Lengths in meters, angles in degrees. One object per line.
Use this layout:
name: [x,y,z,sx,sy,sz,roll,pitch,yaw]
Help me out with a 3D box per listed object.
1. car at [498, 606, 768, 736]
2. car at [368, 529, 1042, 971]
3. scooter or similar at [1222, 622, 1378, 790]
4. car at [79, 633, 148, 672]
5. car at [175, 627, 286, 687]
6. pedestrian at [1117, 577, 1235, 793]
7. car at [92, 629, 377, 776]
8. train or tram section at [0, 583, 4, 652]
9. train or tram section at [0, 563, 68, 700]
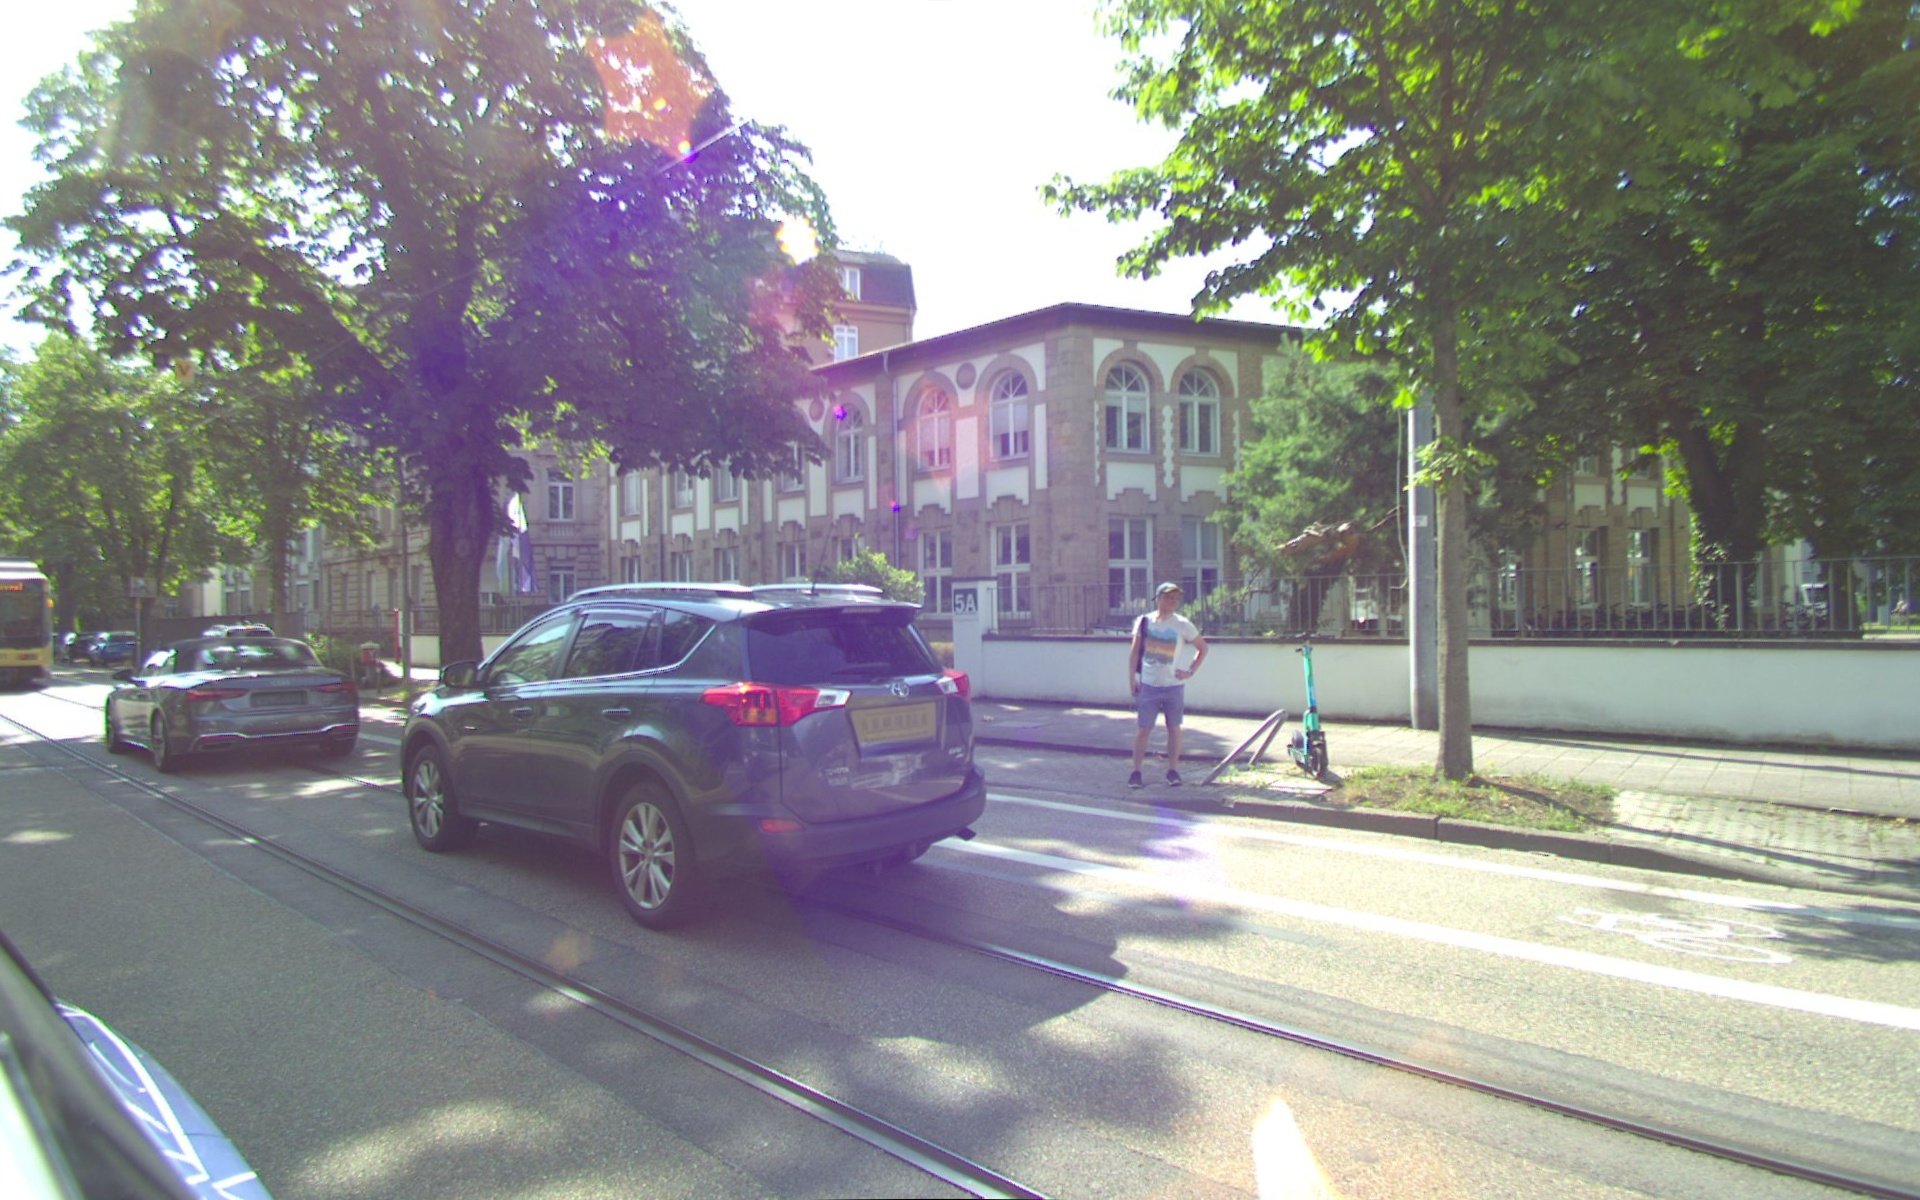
car: [-5.171,0.994,15.635,4.717,1.678,1.732,-1,0,40]
car: [-1.811,0.693,6.144,4.389,1.740,1.806,-3,-3,41]
scooter or similar: [2.994,0.865,8.850,0.854,1.289,1.325,-2,0,40]
car: [-36.254,2.221,43.314,3.806,1.496,1.637,-1,1,41]
car: [-22.471,1.700,31.114,4.329,1.653,1.788,-1,0,41]
pedestrian: [1.899,0.701,8.871,0.750,1.780,0.782,-2,0,32]
car: [-8.673,1.073,11.944,4.423,1.399,1.780,-2,-2,41]
train or tram section: [-38.494,1.183,38.022,11.468,3.415,2.624,-1,-3,42]
train or tram section: [-28.996,0.899,29.543,14.103,3.382,2.624,-1,-3,42]
